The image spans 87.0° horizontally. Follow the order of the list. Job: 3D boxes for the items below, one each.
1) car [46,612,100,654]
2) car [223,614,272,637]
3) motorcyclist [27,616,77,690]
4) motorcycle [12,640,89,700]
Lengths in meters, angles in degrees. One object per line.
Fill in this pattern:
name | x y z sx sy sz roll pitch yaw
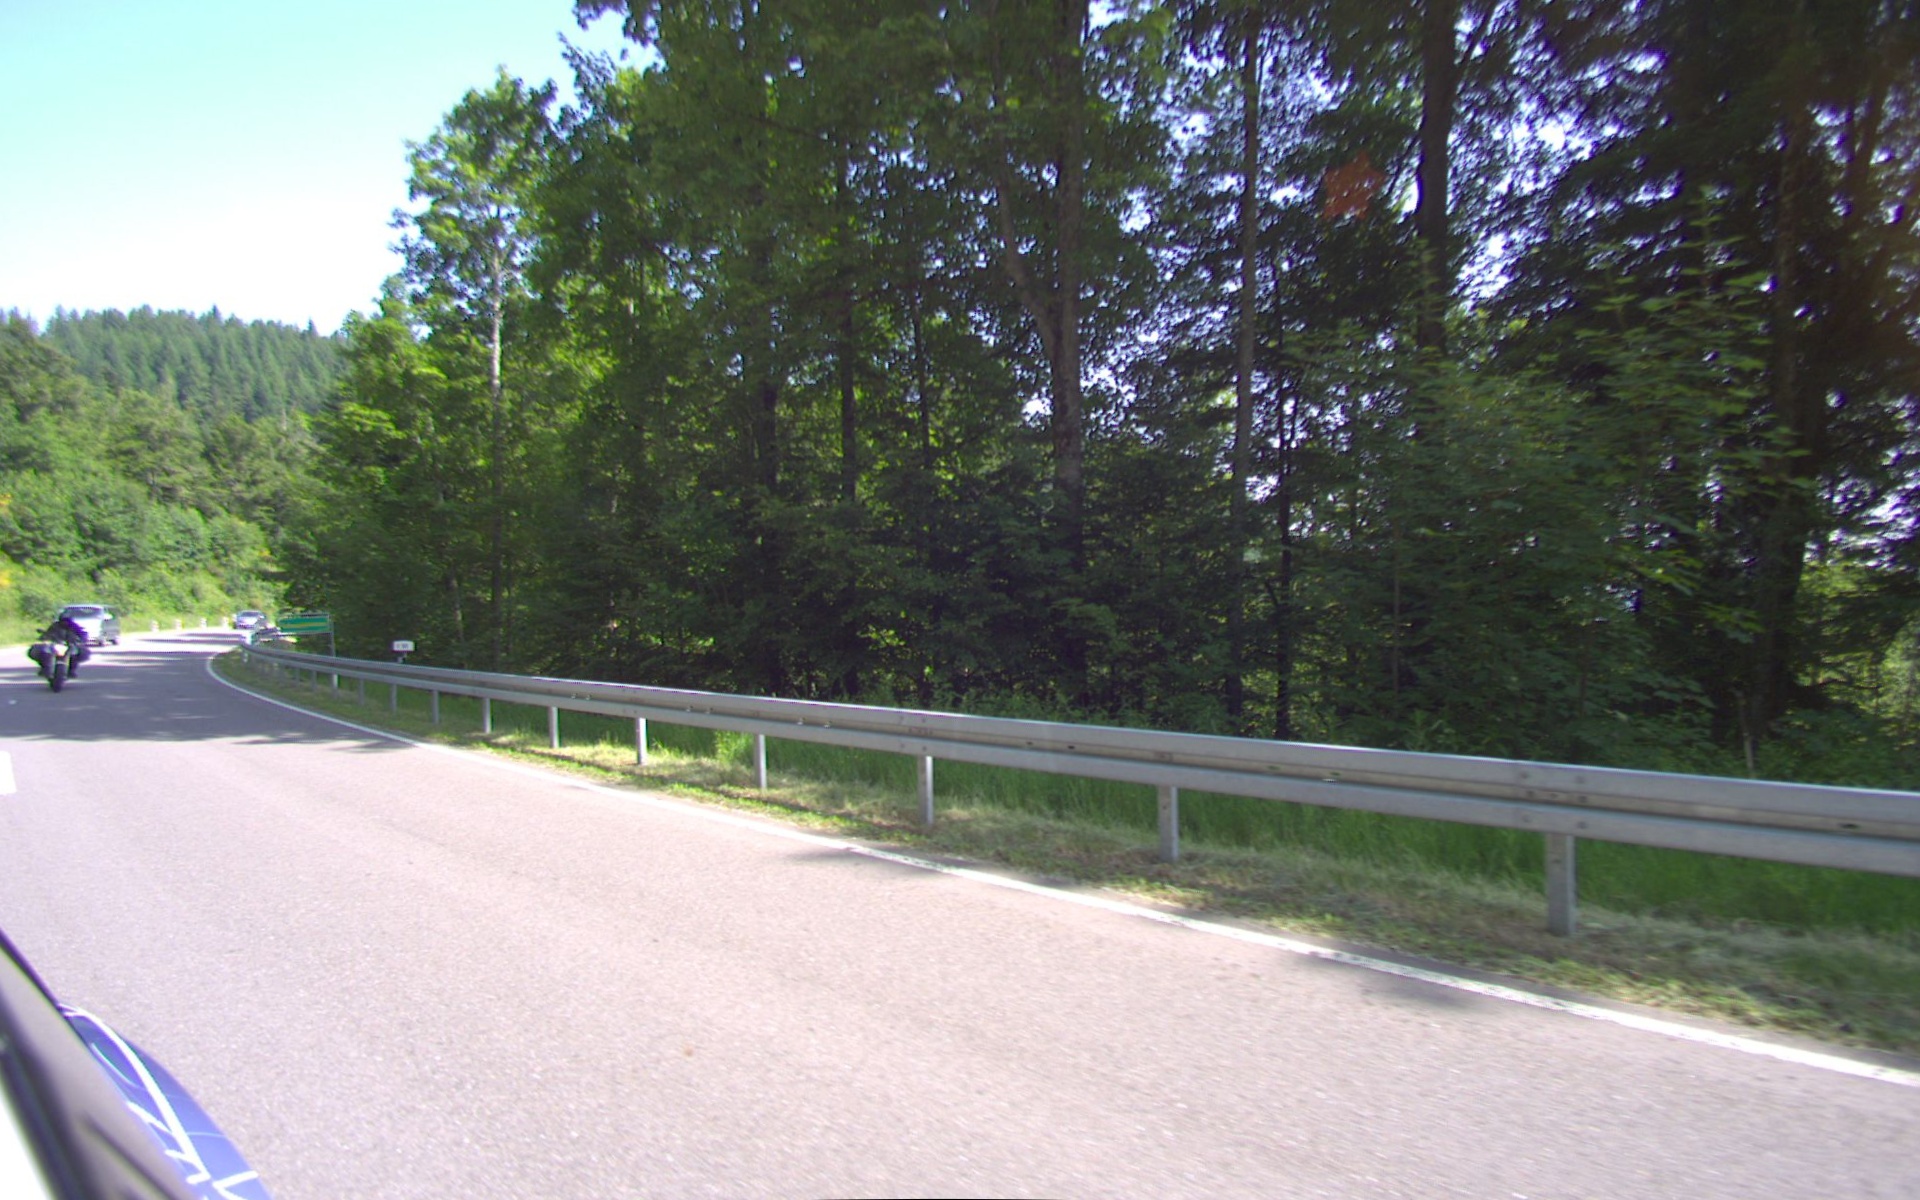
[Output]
car | -40.264 1.471 46.007 1.628 1.773 3.801 2 -2 -39
car | -55.770 2.007 79.288 1.966 1.655 4.012 1 0 -16
motorcyclist | -18.369 1.050 20.495 0.706 1.441 1.001 0 -1 -40
motorcycle | -18.443 1.387 20.564 1.093 1.132 1.964 2 -2 -41
